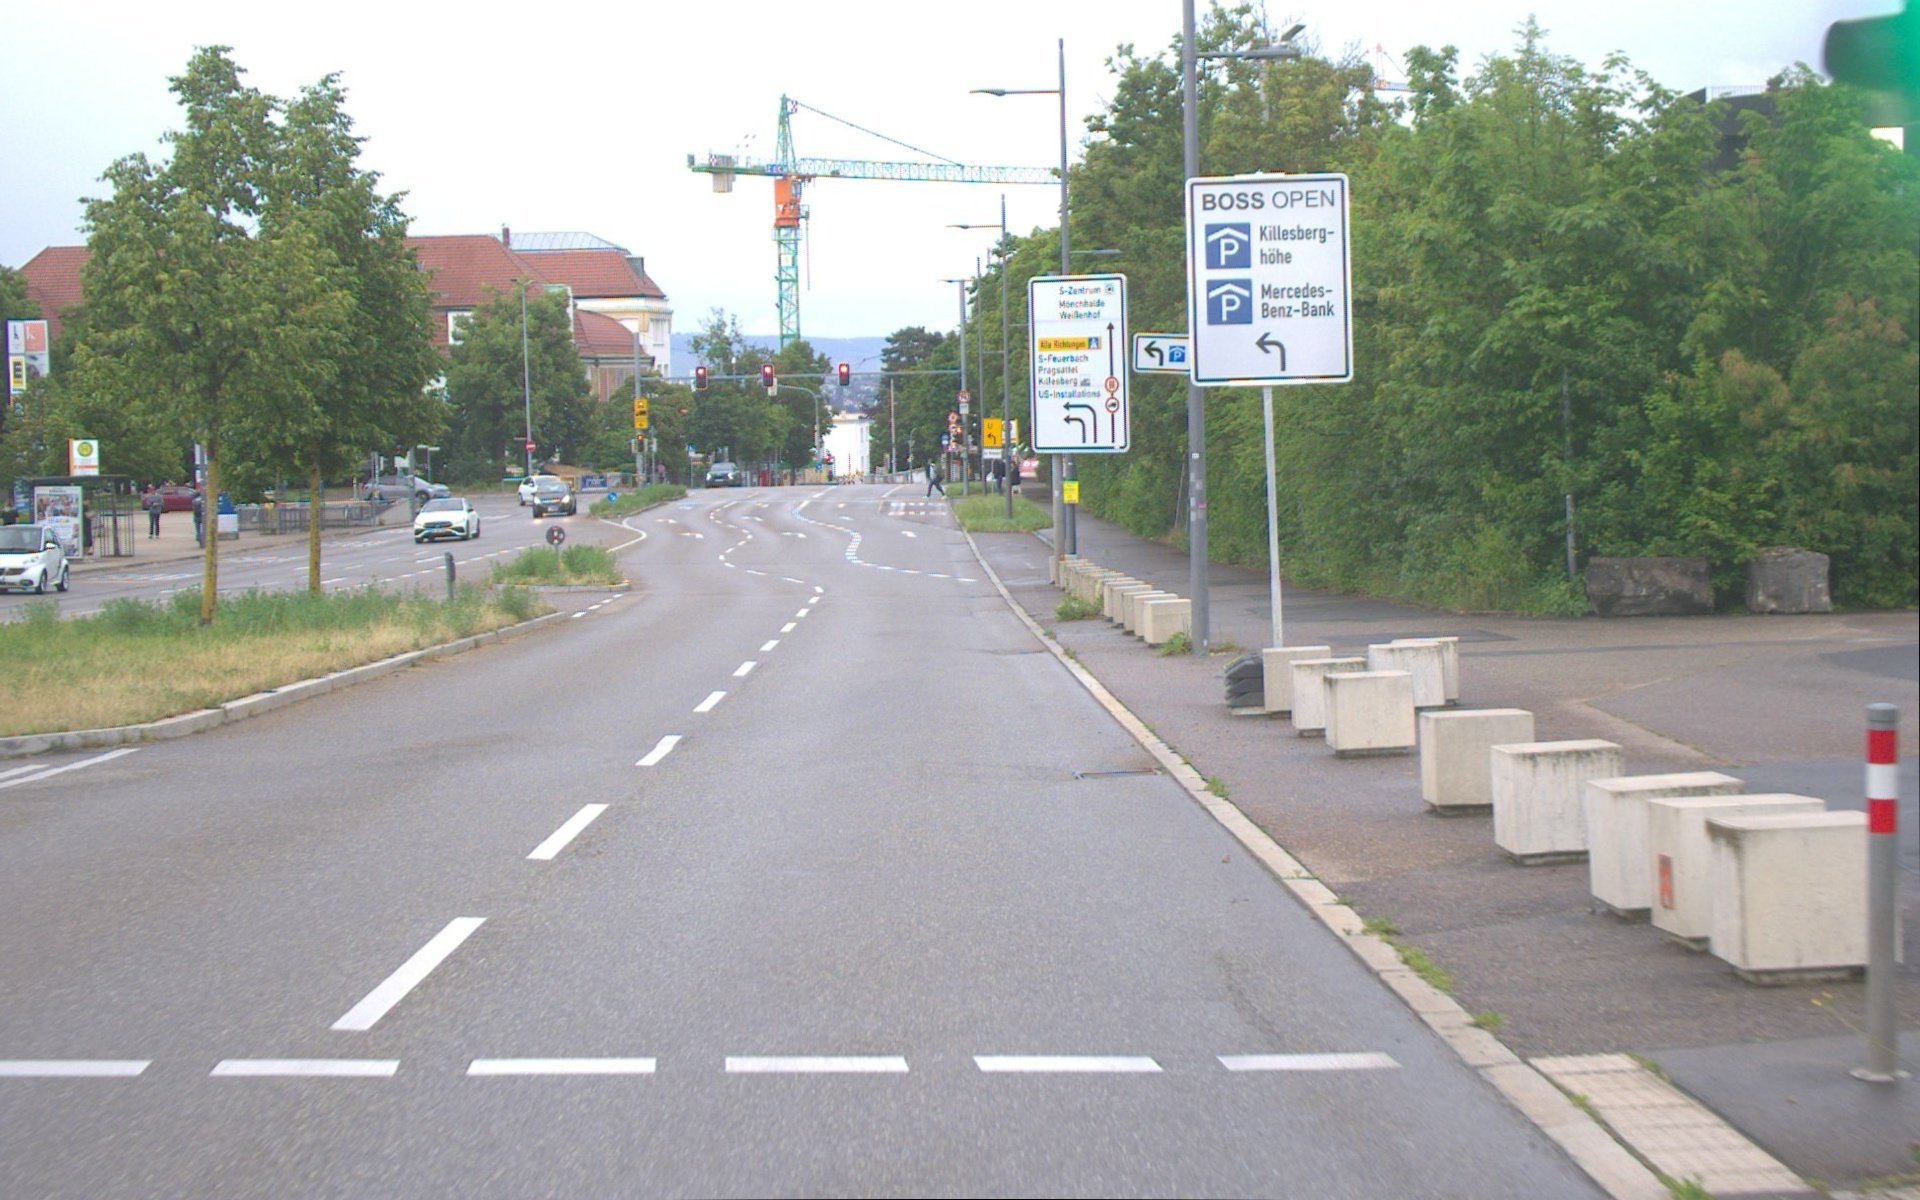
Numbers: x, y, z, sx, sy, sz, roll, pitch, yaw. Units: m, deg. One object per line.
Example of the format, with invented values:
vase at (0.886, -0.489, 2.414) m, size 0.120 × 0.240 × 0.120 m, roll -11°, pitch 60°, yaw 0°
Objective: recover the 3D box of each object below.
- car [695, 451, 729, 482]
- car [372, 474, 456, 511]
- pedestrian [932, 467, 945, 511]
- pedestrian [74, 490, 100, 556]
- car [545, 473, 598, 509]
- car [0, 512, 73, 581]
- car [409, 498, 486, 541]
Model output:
car at (-15.468, -8.309, 214.418) m, size 1.993 × 1.831 × 4.001 m, roll 0°, pitch 1°, yaw -2°
car at (-27.917, -5.478, 175.635) m, size 3.995 × 1.872 × 1.996 m, roll 1°, pitch 1°, yaw 36°
pedestrian at (-0.968, -5.083, 157.208) m, size 0.401 × 2.006 × 0.513 m, roll -4°, pitch 2°, yaw 5°
pedestrian at (-24.501, -2.173, 96.480) m, size 0.507 × 1.836 × 0.756 m, roll -1°, pitch 2°, yaw -1°
car at (-16.841, -4.731, 149.042) m, size 1.846 × 1.457 × 3.868 m, roll -2°, pitch 2°, yaw -1°
car at (-21.303, -1.227, 78.016) m, size 1.613 × 1.503 × 2.973 m, roll 0°, pitch 2°, yaw -1°
car at (-17.476, -2.760, 117.443) m, size 1.993 × 1.413 × 4.513 m, roll -1°, pitch 2°, yaw -1°
